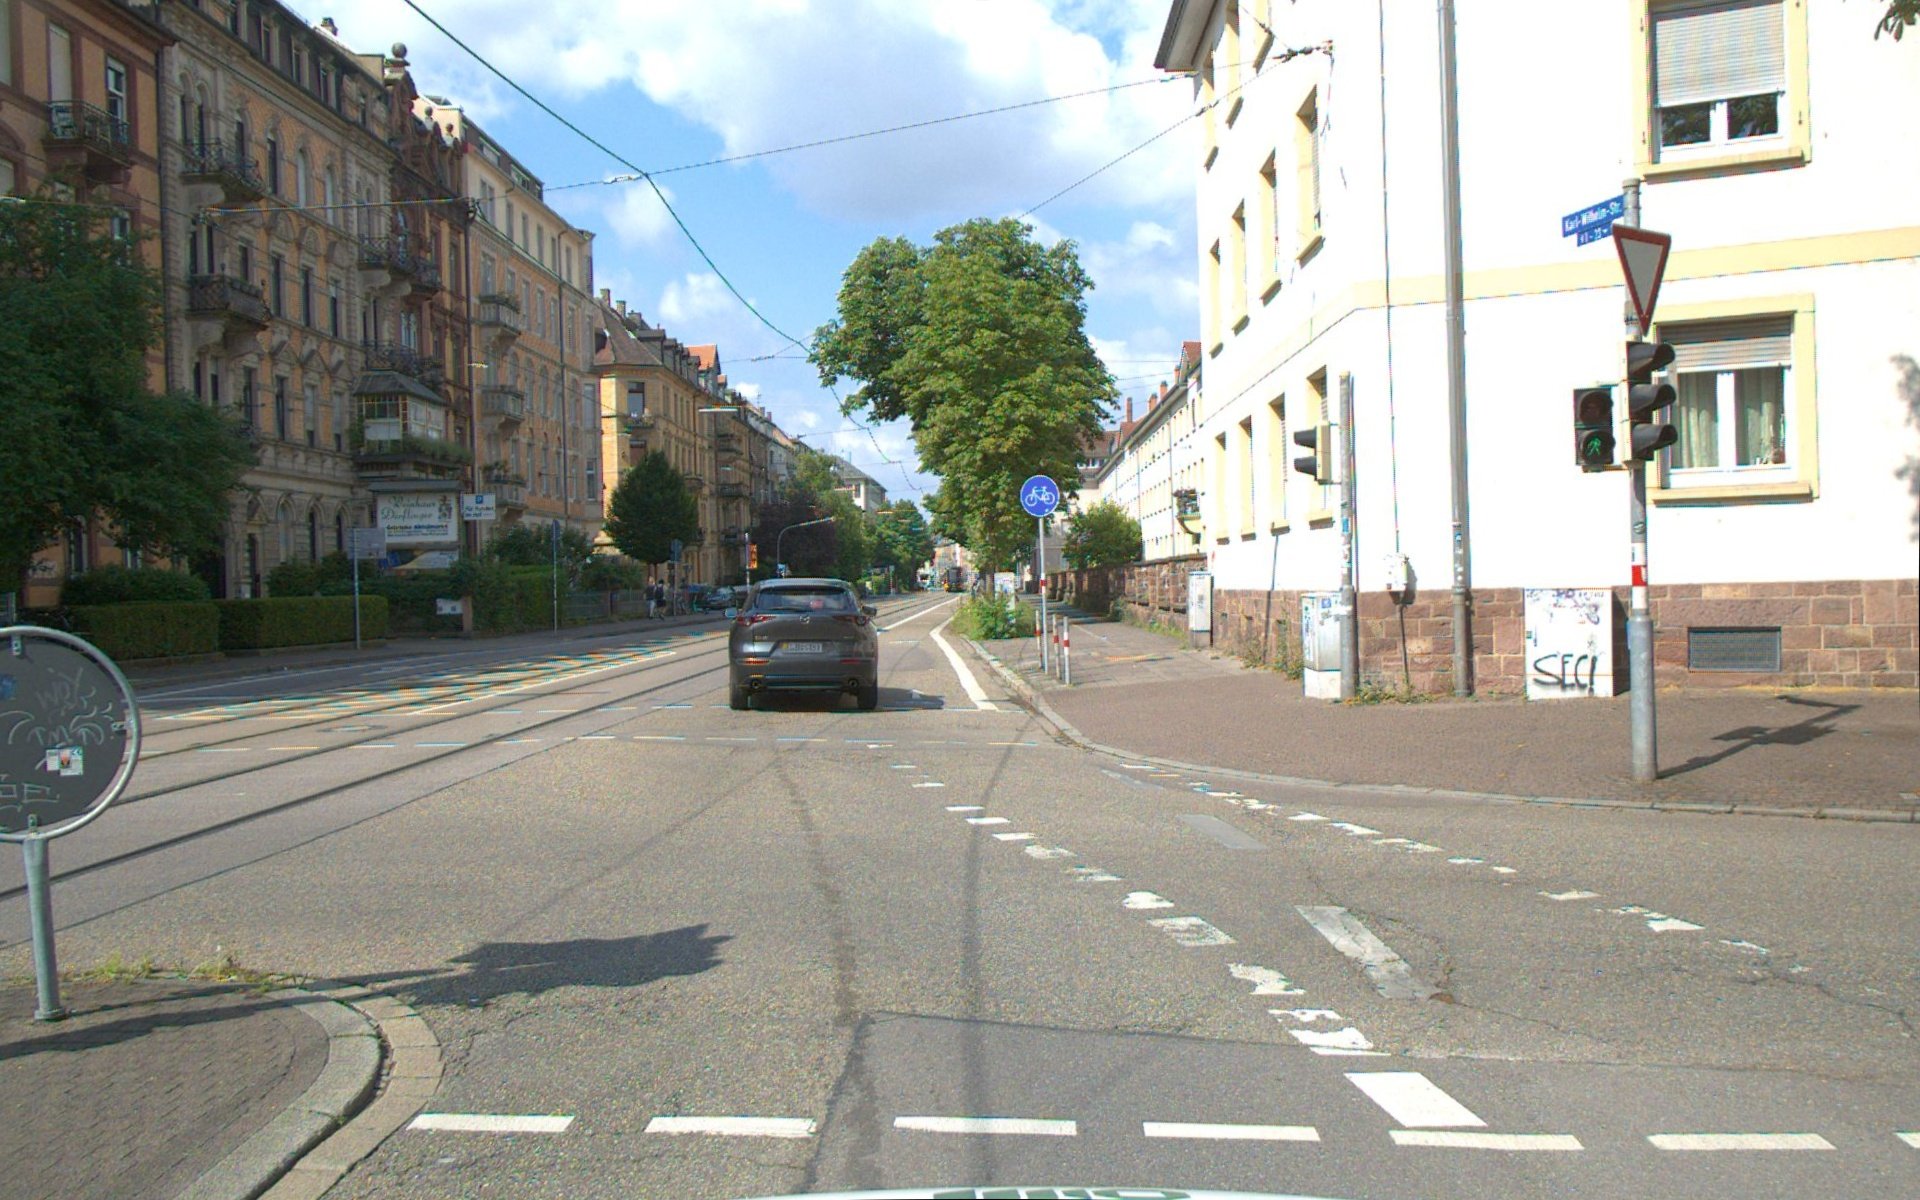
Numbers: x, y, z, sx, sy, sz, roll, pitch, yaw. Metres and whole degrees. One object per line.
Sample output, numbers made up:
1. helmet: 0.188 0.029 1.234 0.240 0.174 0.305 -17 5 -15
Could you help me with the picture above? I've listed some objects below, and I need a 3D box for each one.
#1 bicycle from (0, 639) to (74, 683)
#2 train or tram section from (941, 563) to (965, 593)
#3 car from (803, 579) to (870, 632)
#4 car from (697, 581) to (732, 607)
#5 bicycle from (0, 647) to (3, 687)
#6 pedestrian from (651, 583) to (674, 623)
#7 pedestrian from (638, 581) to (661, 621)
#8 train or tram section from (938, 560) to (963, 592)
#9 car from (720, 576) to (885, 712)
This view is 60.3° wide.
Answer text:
1. bicycle: -16.260 1.061 28.990 0.377 0.688 1.712 -2 1 6
2. train or tram section: -0.966 -3.155 240.488 2.936 4.053 13.811 -2 0 1
3. car: -3.608 0.124 48.845 1.739 1.489 3.842 0 1 -1
4. car: -16.040 -0.418 108.105 1.623 1.623 3.930 -2 1 1
5. bicycle: -16.256 1.143 26.782 0.377 0.664 1.712 -2 1 6
6. pedestrian: -12.745 0.126 70.914 0.771 1.718 0.732 -2 1 3
7. pedestrian: -13.713 0.034 73.070 0.771 1.718 0.732 -2 1 3
8. train or tram section: -1.299 -3.249 226.725 2.936 4.053 13.811 -2 0 1
9. car: -2.075 0.476 20.829 1.750 1.540 3.990 0 1 -10
